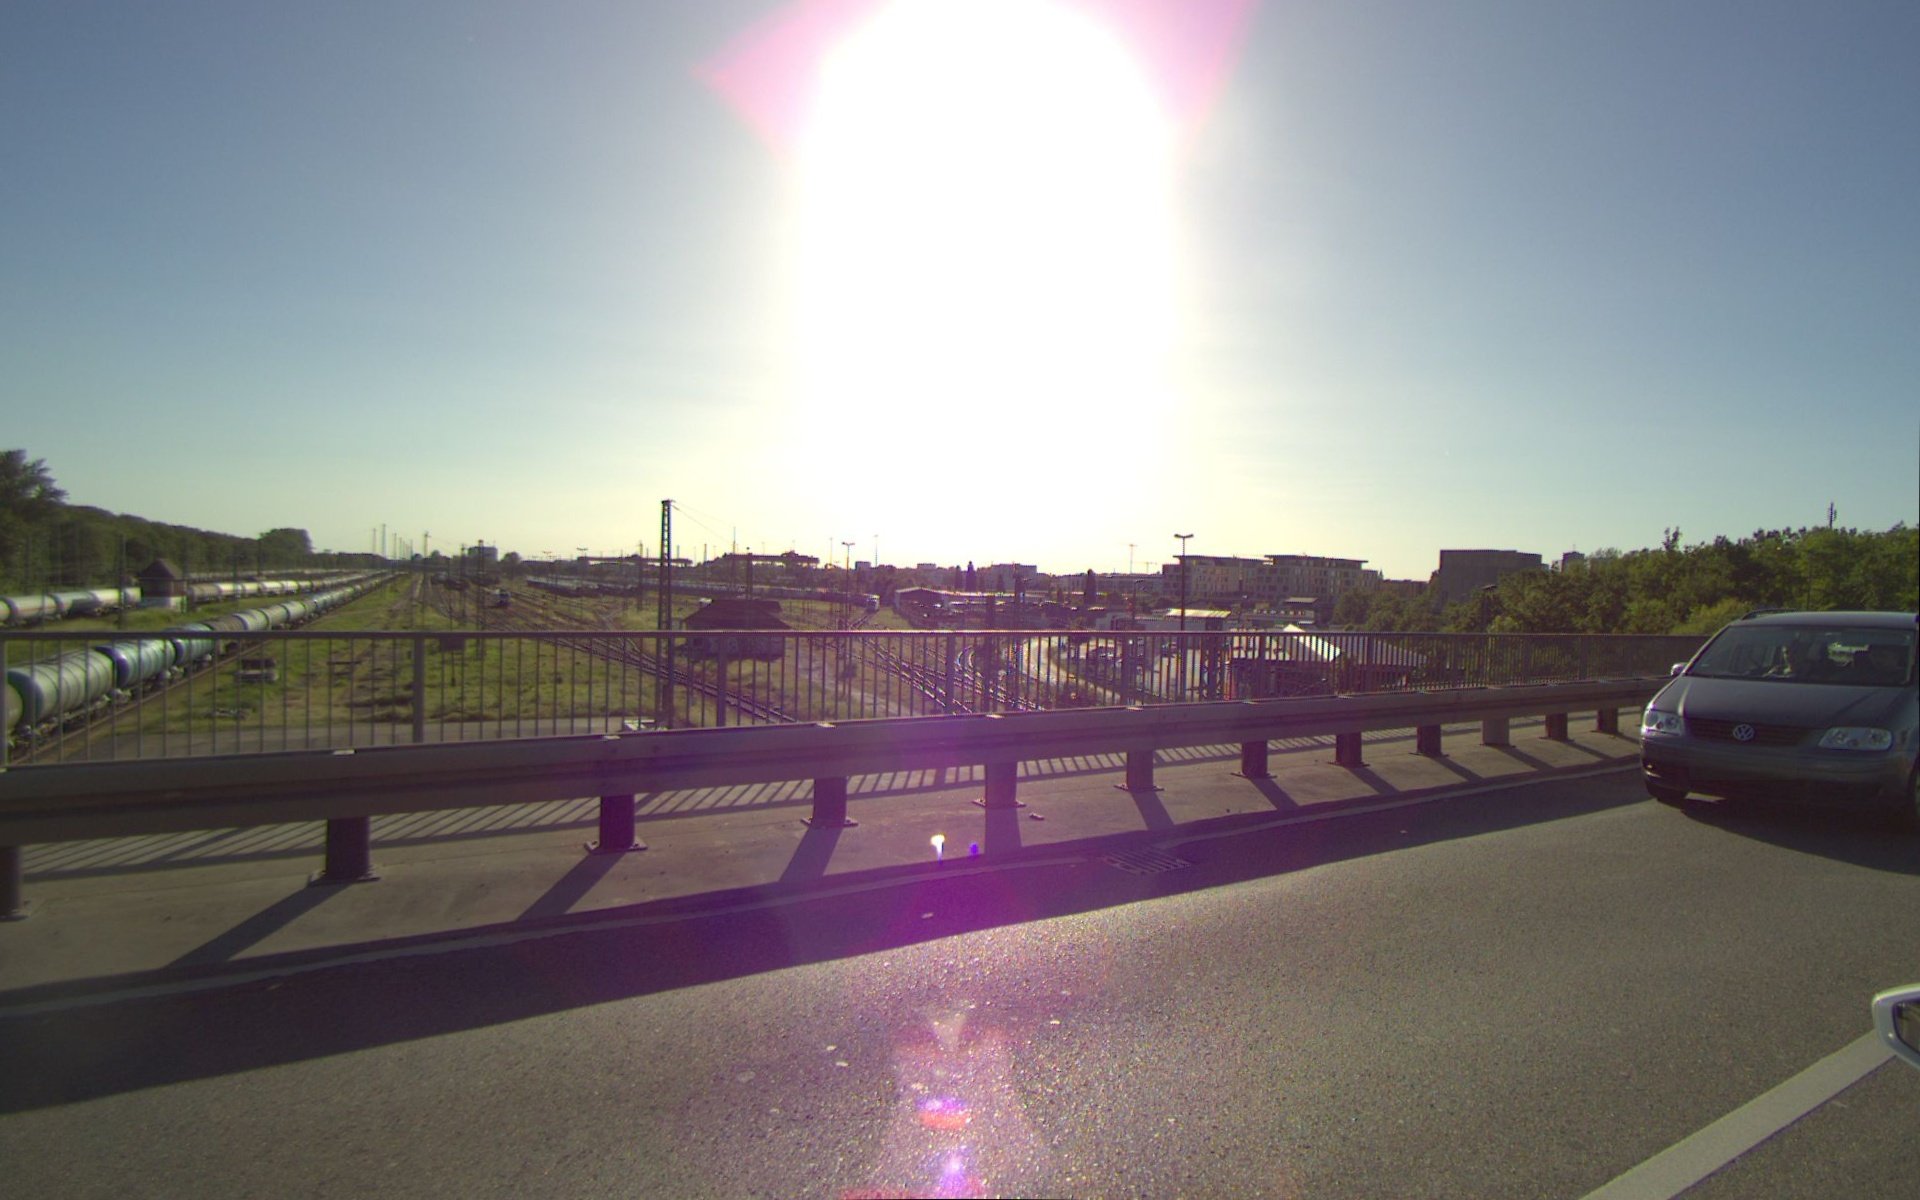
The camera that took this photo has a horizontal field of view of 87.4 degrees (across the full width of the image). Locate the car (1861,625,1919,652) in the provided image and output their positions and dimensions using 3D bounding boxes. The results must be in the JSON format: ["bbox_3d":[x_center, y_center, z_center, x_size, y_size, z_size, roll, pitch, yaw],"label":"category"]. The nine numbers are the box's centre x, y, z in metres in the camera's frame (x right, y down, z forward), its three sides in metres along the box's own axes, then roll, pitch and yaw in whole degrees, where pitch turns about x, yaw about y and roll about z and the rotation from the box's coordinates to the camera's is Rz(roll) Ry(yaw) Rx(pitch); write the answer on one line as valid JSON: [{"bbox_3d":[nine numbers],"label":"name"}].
[{"bbox_3d":[58.847,2.380,63.160,1.828,1.606,3.915,1,-1,19],"label":"car"}]

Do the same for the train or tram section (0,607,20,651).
[{"bbox_3d":[-114.973,3.407,116.722,4.000,5.154,17.732,1,-1,-29],"label":"train or tram section"}]

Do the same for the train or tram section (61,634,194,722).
[{"bbox_3d":[-58.023,5.111,70.660,3.857,5.083,16.248,1,-1,-28],"label":"train or tram section"}]

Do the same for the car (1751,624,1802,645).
[{"bbox_3d":[67.125,2.804,82.595,1.804,1.576,3.895,1,-1,15],"label":"car"}]

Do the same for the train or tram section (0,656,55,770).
[{"bbox_3d":[-42.795,4.992,41.661,3.857,4.652,16.194,1,-1,-28],"label":"train or tram section"}]

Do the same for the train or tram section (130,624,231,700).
[{"bbox_3d":[-65.666,4.969,85.115,3.857,5.592,16.385,1,-1,-28],"label":"train or tram section"}]

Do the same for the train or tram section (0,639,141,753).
[{"bbox_3d":[-50.400,4.964,56.131,3.857,5.083,16.546,1,-1,-28],"label":"train or tram section"}]

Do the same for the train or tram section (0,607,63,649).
[{"bbox_3d":[-123.458,3.512,132.312,4.000,5.154,17.732,1,-1,-29],"label":"train or tram section"}]

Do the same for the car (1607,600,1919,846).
[{"bbox_3d":[7.472,0.864,8.657,4.062,1.645,1.836,1,-1,-36],"label":"car"}]
